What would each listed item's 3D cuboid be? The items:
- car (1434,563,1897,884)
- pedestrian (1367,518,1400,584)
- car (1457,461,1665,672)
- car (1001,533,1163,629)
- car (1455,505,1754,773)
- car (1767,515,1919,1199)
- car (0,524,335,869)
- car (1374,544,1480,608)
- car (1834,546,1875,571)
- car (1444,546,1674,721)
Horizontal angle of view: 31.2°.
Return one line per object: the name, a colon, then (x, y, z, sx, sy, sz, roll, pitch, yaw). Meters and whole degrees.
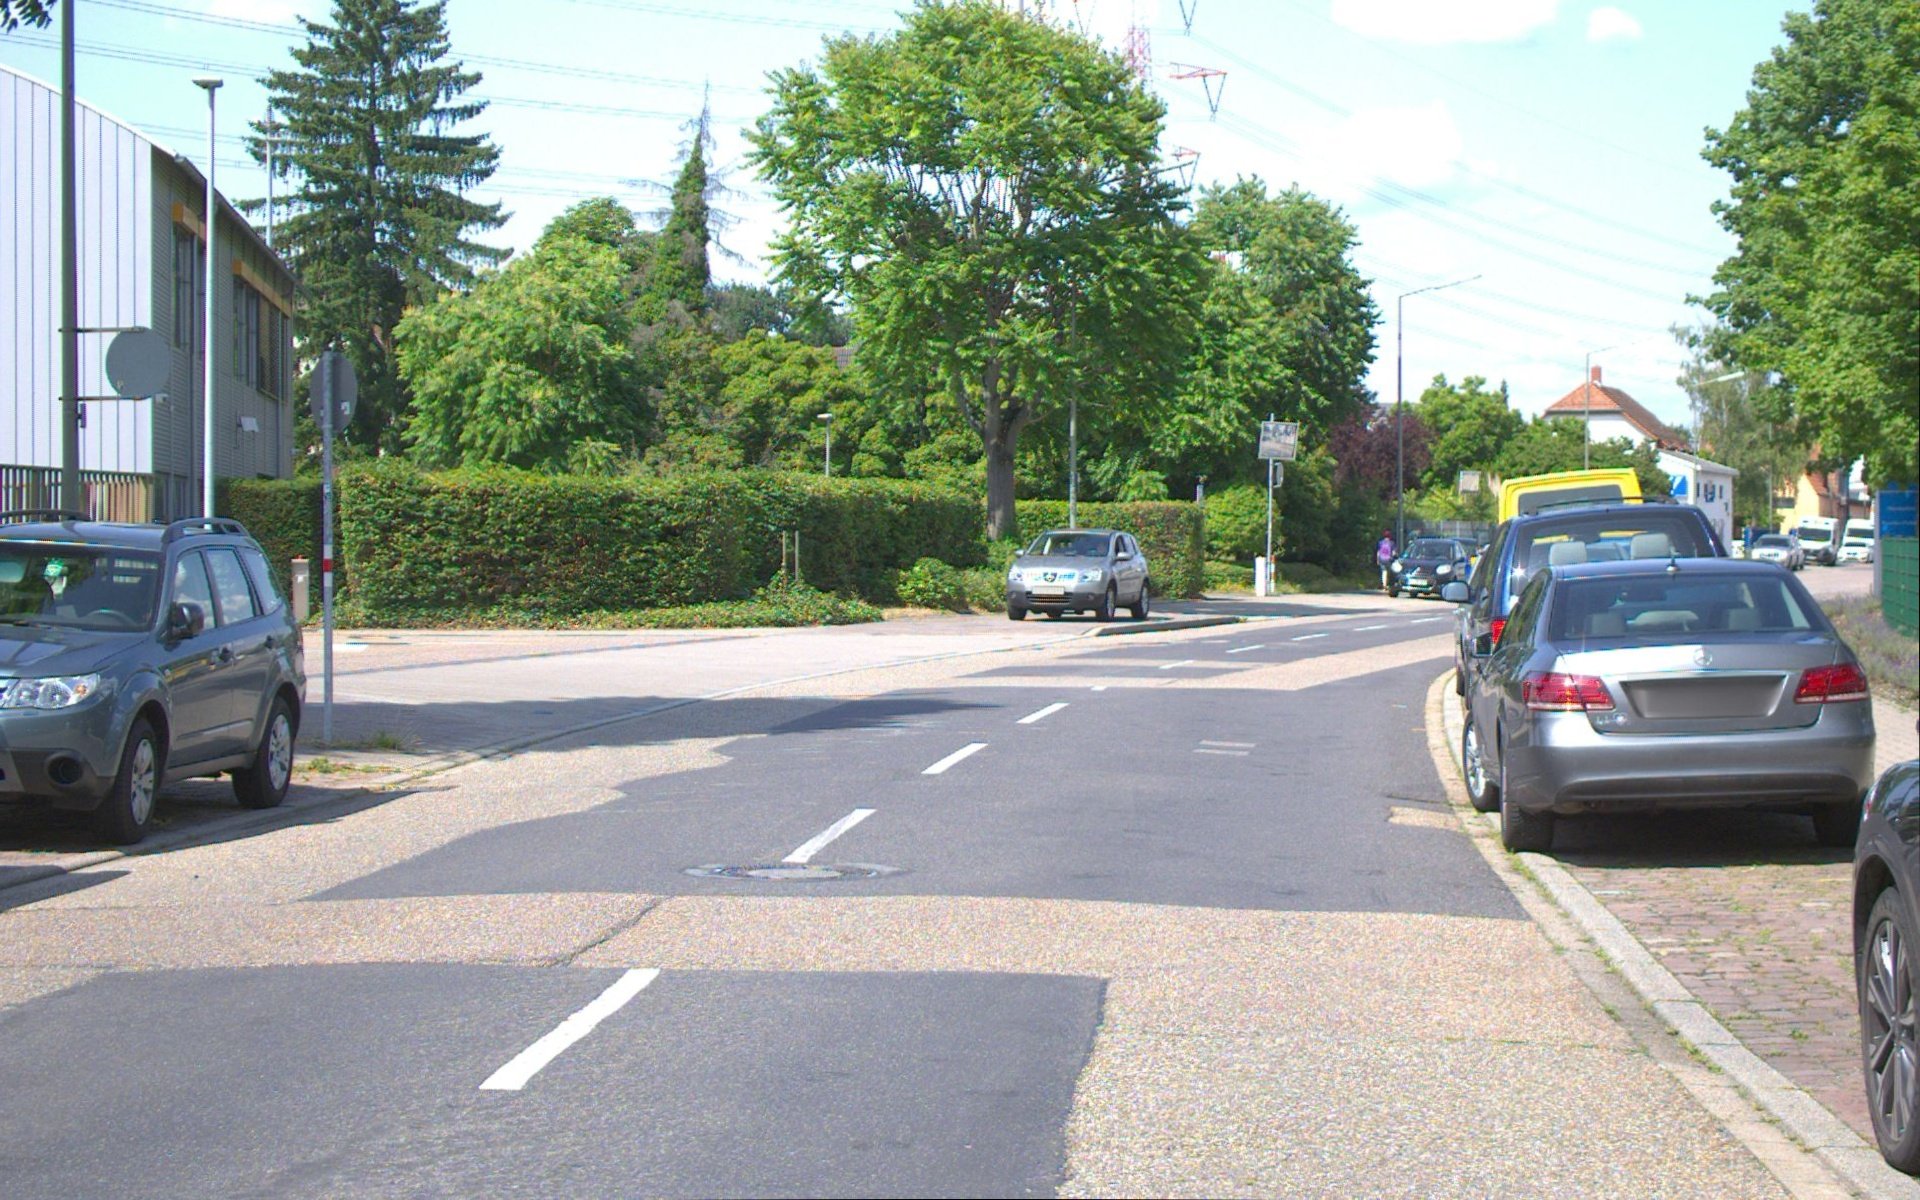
car: (3.667, 0.563, 18.700, 1.842, 1.455, 4.868, -2, 1, 5)
pedestrian: (11.636, -1.350, 94.426, 0.708, 1.795, 0.915, 1, 0, 19)
car: (7.746, -0.422, 43.799, 2.158, 2.456, 6.635, -1, 0, 13)
car: (2.166, -0.340, 59.811, 1.759, 1.568, 4.474, 1, 1, 16)
car: (4.707, 0.235, 25.709, 1.850, 1.759, 5.076, -2, 0, 7)
car: (3.099, 0.623, 7.173, 1.861, 1.677, 4.710, -2, 1, 3)
car: (-4.954, 0.418, 18.979, 1.799, 1.645, 4.689, 2, 1, 4)
car: (11.947, -0.627, 87.744, 1.847, 1.503, 3.996, 4, 2, 19)
car: (52.820, -2.458, 202.917, 1.798, 1.392, 4.497, 2, 1, 21)
car: (5.506, 0.264, 32.076, 1.833, 1.487, 4.655, -1, 1, 7)
